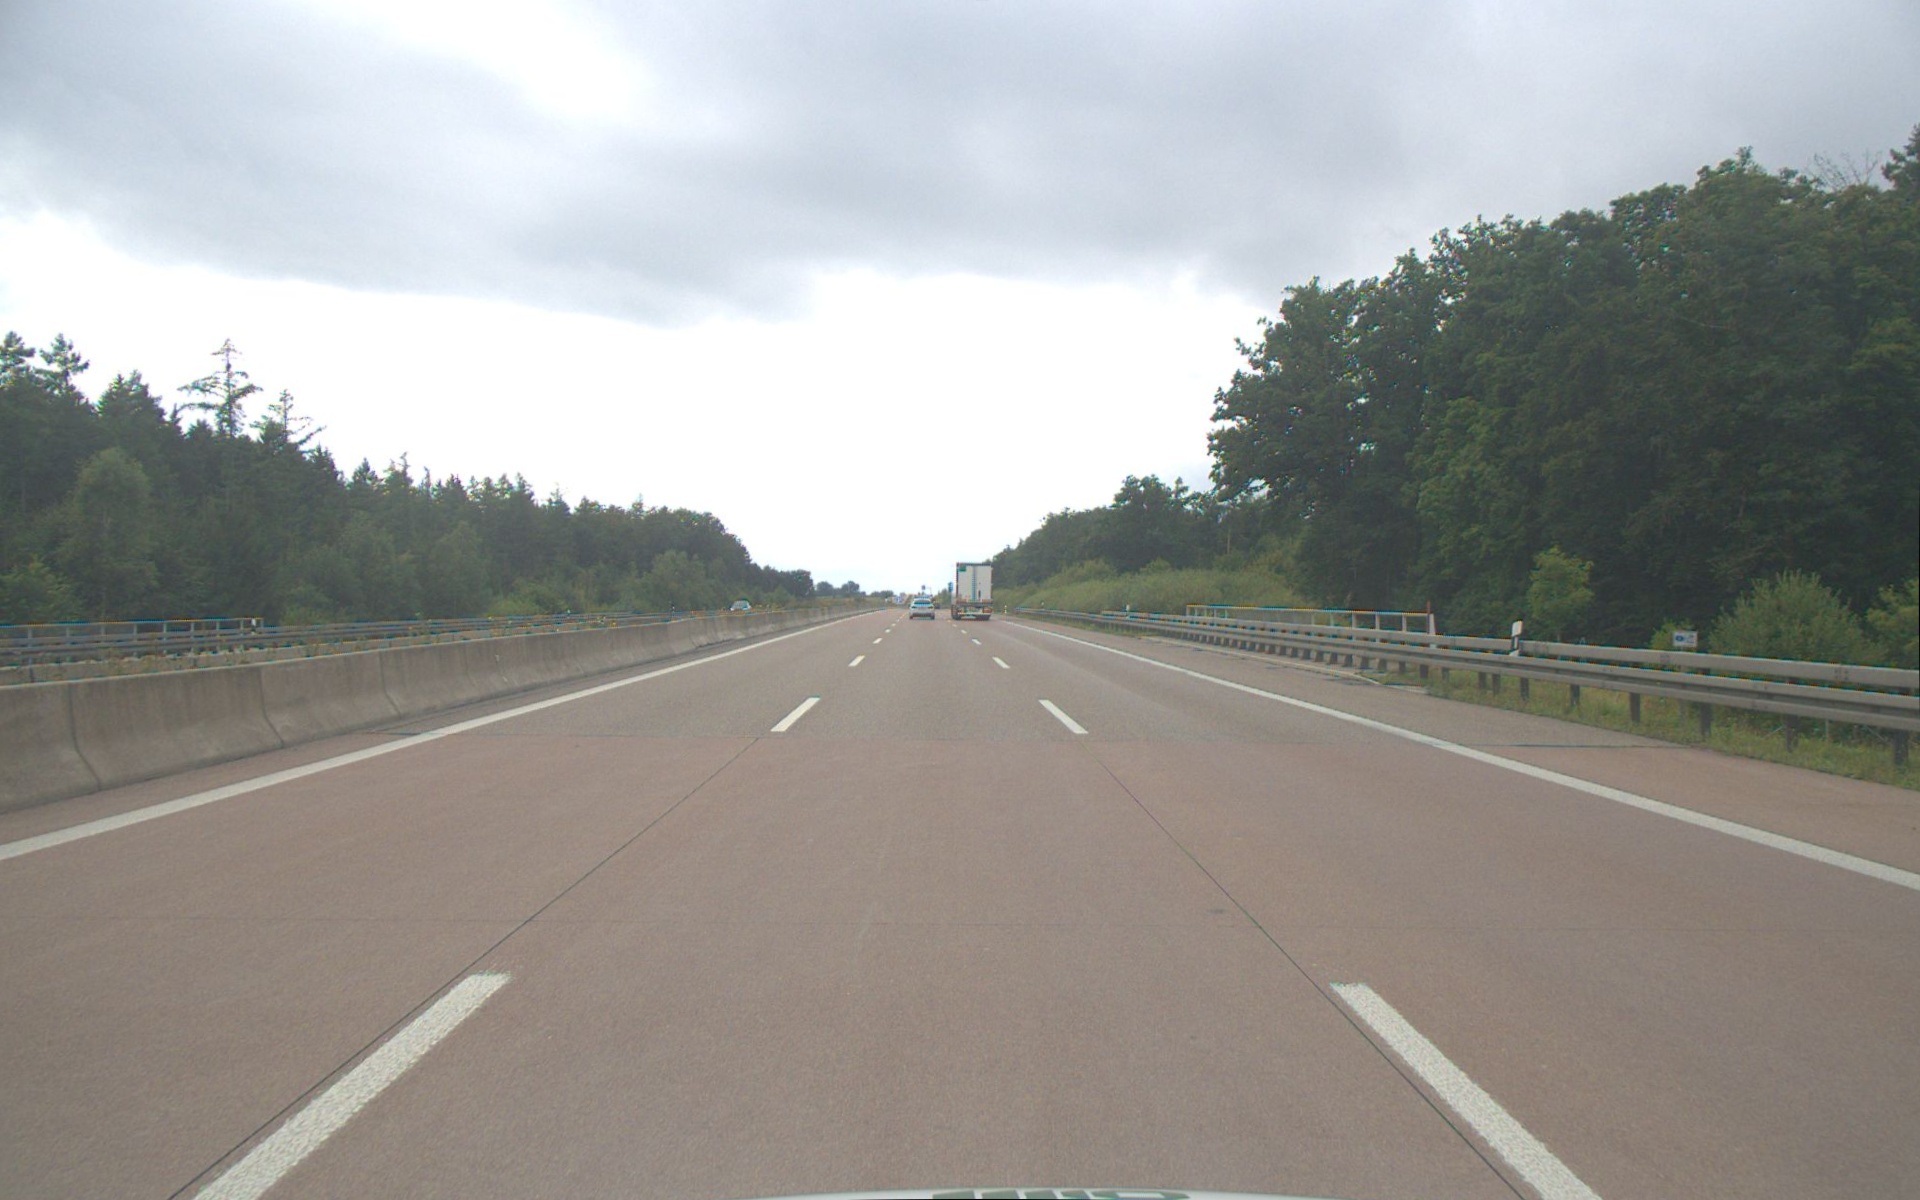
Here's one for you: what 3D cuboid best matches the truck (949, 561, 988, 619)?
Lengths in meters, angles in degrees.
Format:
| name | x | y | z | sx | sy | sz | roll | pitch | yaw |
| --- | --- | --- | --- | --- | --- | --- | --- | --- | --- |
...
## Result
| name | x | y | z | sx | sy | sz | roll | pitch | yaw |
| --- | --- | --- | --- | --- | --- | --- | --- | --- | --- |
| truck | 0.655 | -0.736 | 128.932 | 2.862 | 4.369 | 5.333 | 0 | 0 | -2 |

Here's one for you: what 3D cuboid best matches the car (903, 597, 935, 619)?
| name | x | y | z | sx | sy | sz | roll | pitch | yaw |
| --- | --- | --- | --- | --- | --- | --- | --- | --- | --- |
| car | -2.976 | 0.575 | 121.050 | 2.119 | 1.476 | 4.718 | 2 | 0 | 0 |

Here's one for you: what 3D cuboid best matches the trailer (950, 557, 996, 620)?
| name | x | y | z | sx | sy | sz | roll | pitch | yaw |
| --- | --- | --- | --- | --- | --- | --- | --- | --- | --- |
| trailer | 0.855 | -0.748 | 121.466 | 2.862 | 4.369 | 13.609 | 0 | 0 | -1 |

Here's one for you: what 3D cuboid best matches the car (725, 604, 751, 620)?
| name | x | y | z | sx | sy | sz | roll | pitch | yaw |
| --- | --- | --- | --- | --- | --- | --- | --- | --- | --- |
| car | -23.047 | 1.226 | 171.884 | 2.081 | 1.619 | 5.196 | 0 | 0 | -2 |
